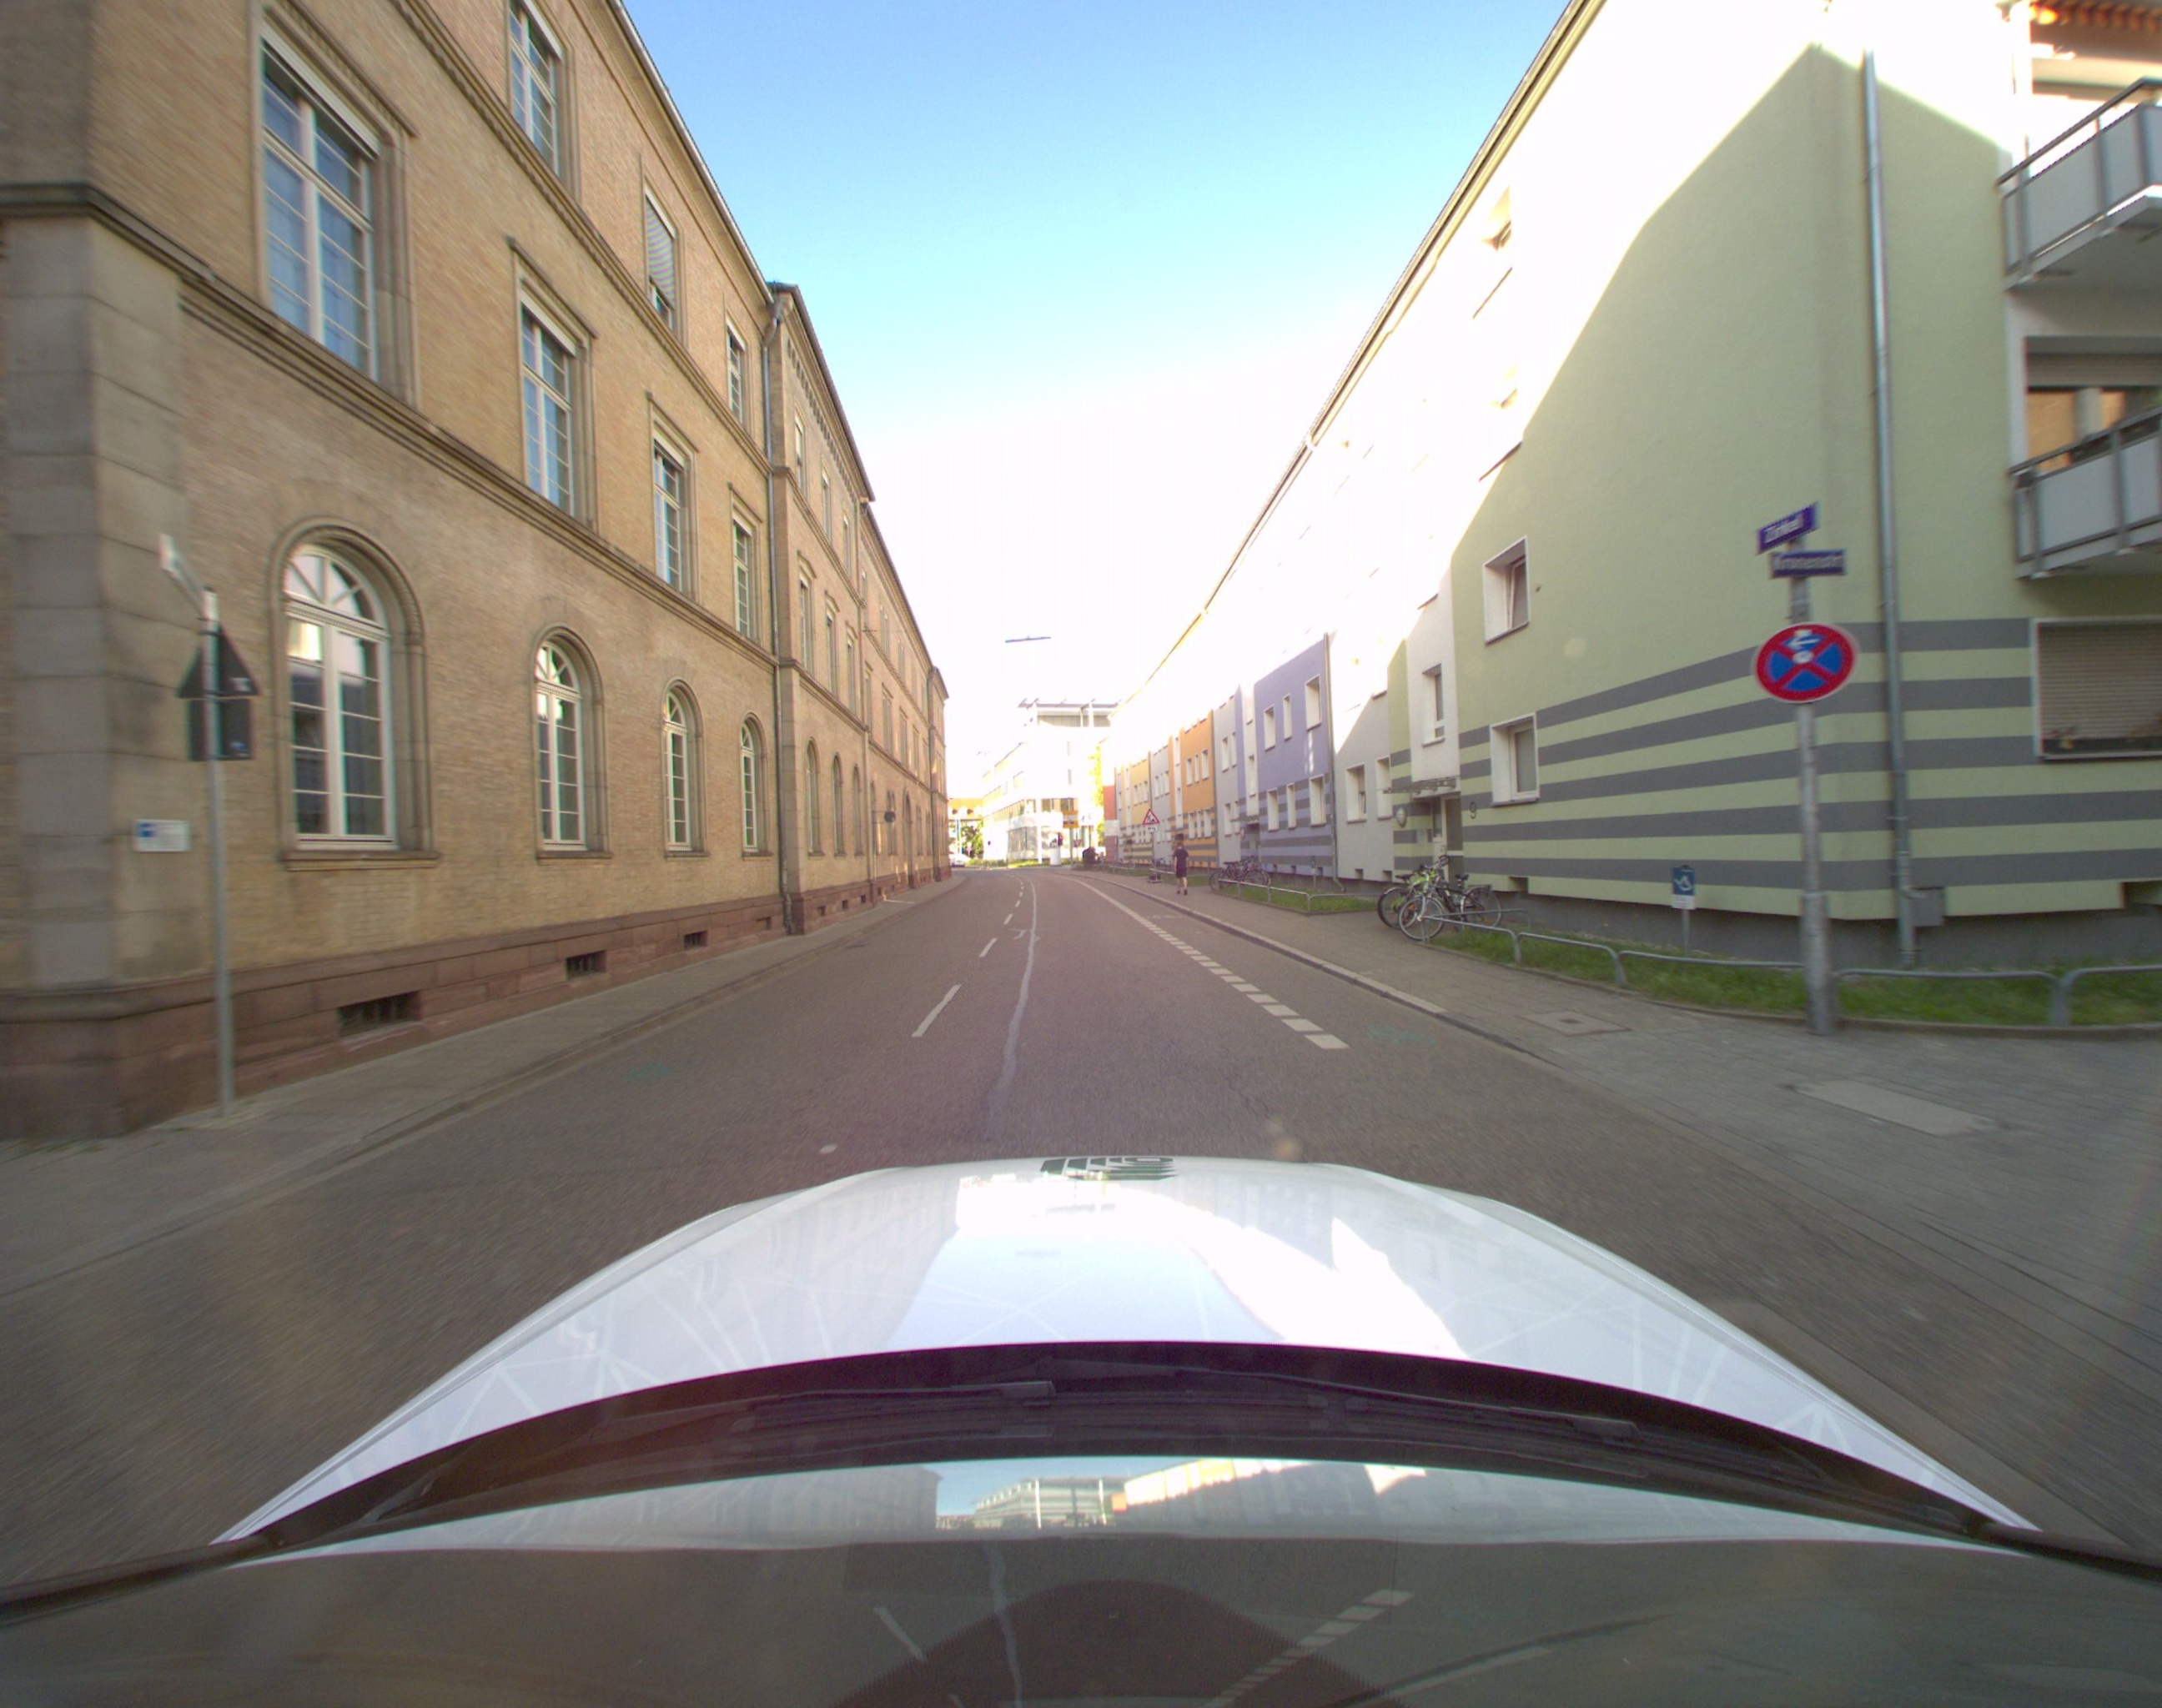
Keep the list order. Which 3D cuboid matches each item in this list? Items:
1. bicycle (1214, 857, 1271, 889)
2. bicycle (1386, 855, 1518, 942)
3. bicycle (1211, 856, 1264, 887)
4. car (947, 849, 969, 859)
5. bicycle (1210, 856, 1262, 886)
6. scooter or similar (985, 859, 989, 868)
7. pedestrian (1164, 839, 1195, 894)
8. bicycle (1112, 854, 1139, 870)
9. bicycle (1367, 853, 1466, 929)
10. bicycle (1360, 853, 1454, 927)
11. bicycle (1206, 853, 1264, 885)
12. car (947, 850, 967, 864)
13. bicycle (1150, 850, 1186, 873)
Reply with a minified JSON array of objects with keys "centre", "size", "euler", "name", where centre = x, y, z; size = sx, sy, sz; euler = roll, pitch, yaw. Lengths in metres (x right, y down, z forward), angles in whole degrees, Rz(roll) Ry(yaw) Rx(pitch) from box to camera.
[{"centre":[5.419,0.628,27.298],"size":[1.745,0.946,0.551],"euler":[-3,0,-4],"name":"bicycle"},{"centre":[5.789,0.677,12.748],"size":[1.745,1.141,0.551],"euler":[-6,1,-4],"name":"bicycle"},{"centre":[5.475,0.606,28.456],"size":[1.744,0.946,0.325],"euler":[-3,0,-3],"name":"bicycle"},{"centre":[-24.540,0.048,162.107],"size":[4.008,1.915,1.903],"euler":[0,-1,-26],"name":"car"},{"centre":[5.505,0.611,28.876],"size":[1.745,0.946,0.334],"euler":[-3,0,-4],"name":"bicycle"},{"centre":[-12.234,1.236,106.119],"size":[0.325,1.059,1.136],"euler":[-3,0,-15],"name":"scooter or similar"},{"centre":[3.275,0.409,27.192],"size":[0.695,1.759,1.187],"euler":[-5,0,-3],"name":"pedestrian"},{"centre":[3.125,0.546,57.455],"size":[1.753,1.004,0.611],"euler":[-4,0,-8],"name":"bicycle"},{"centre":[5.851,0.638,14.192],"size":[1.642,1.141,0.282],"euler":[-6,1,-12],"name":"bicycle"},{"centre":[5.782,0.625,14.454],"size":[1.603,1.141,0.236],"euler":[-6,1,-12],"name":"bicycle"},{"centre":[5.042,0.478,26.645],"size":[1.745,0.946,0.551],"euler":[-3,0,-4],"name":"bicycle"},{"centre":[-18.999,0.519,124.755],"size":[2.429,2.112,5.204],"euler":[-1,0,-15],"name":"car"},{"centre":[4.614,0.407,43.157],"size":[1.807,1.137,0.551],"euler":[-3,0,-5],"name":"bicycle"}]
